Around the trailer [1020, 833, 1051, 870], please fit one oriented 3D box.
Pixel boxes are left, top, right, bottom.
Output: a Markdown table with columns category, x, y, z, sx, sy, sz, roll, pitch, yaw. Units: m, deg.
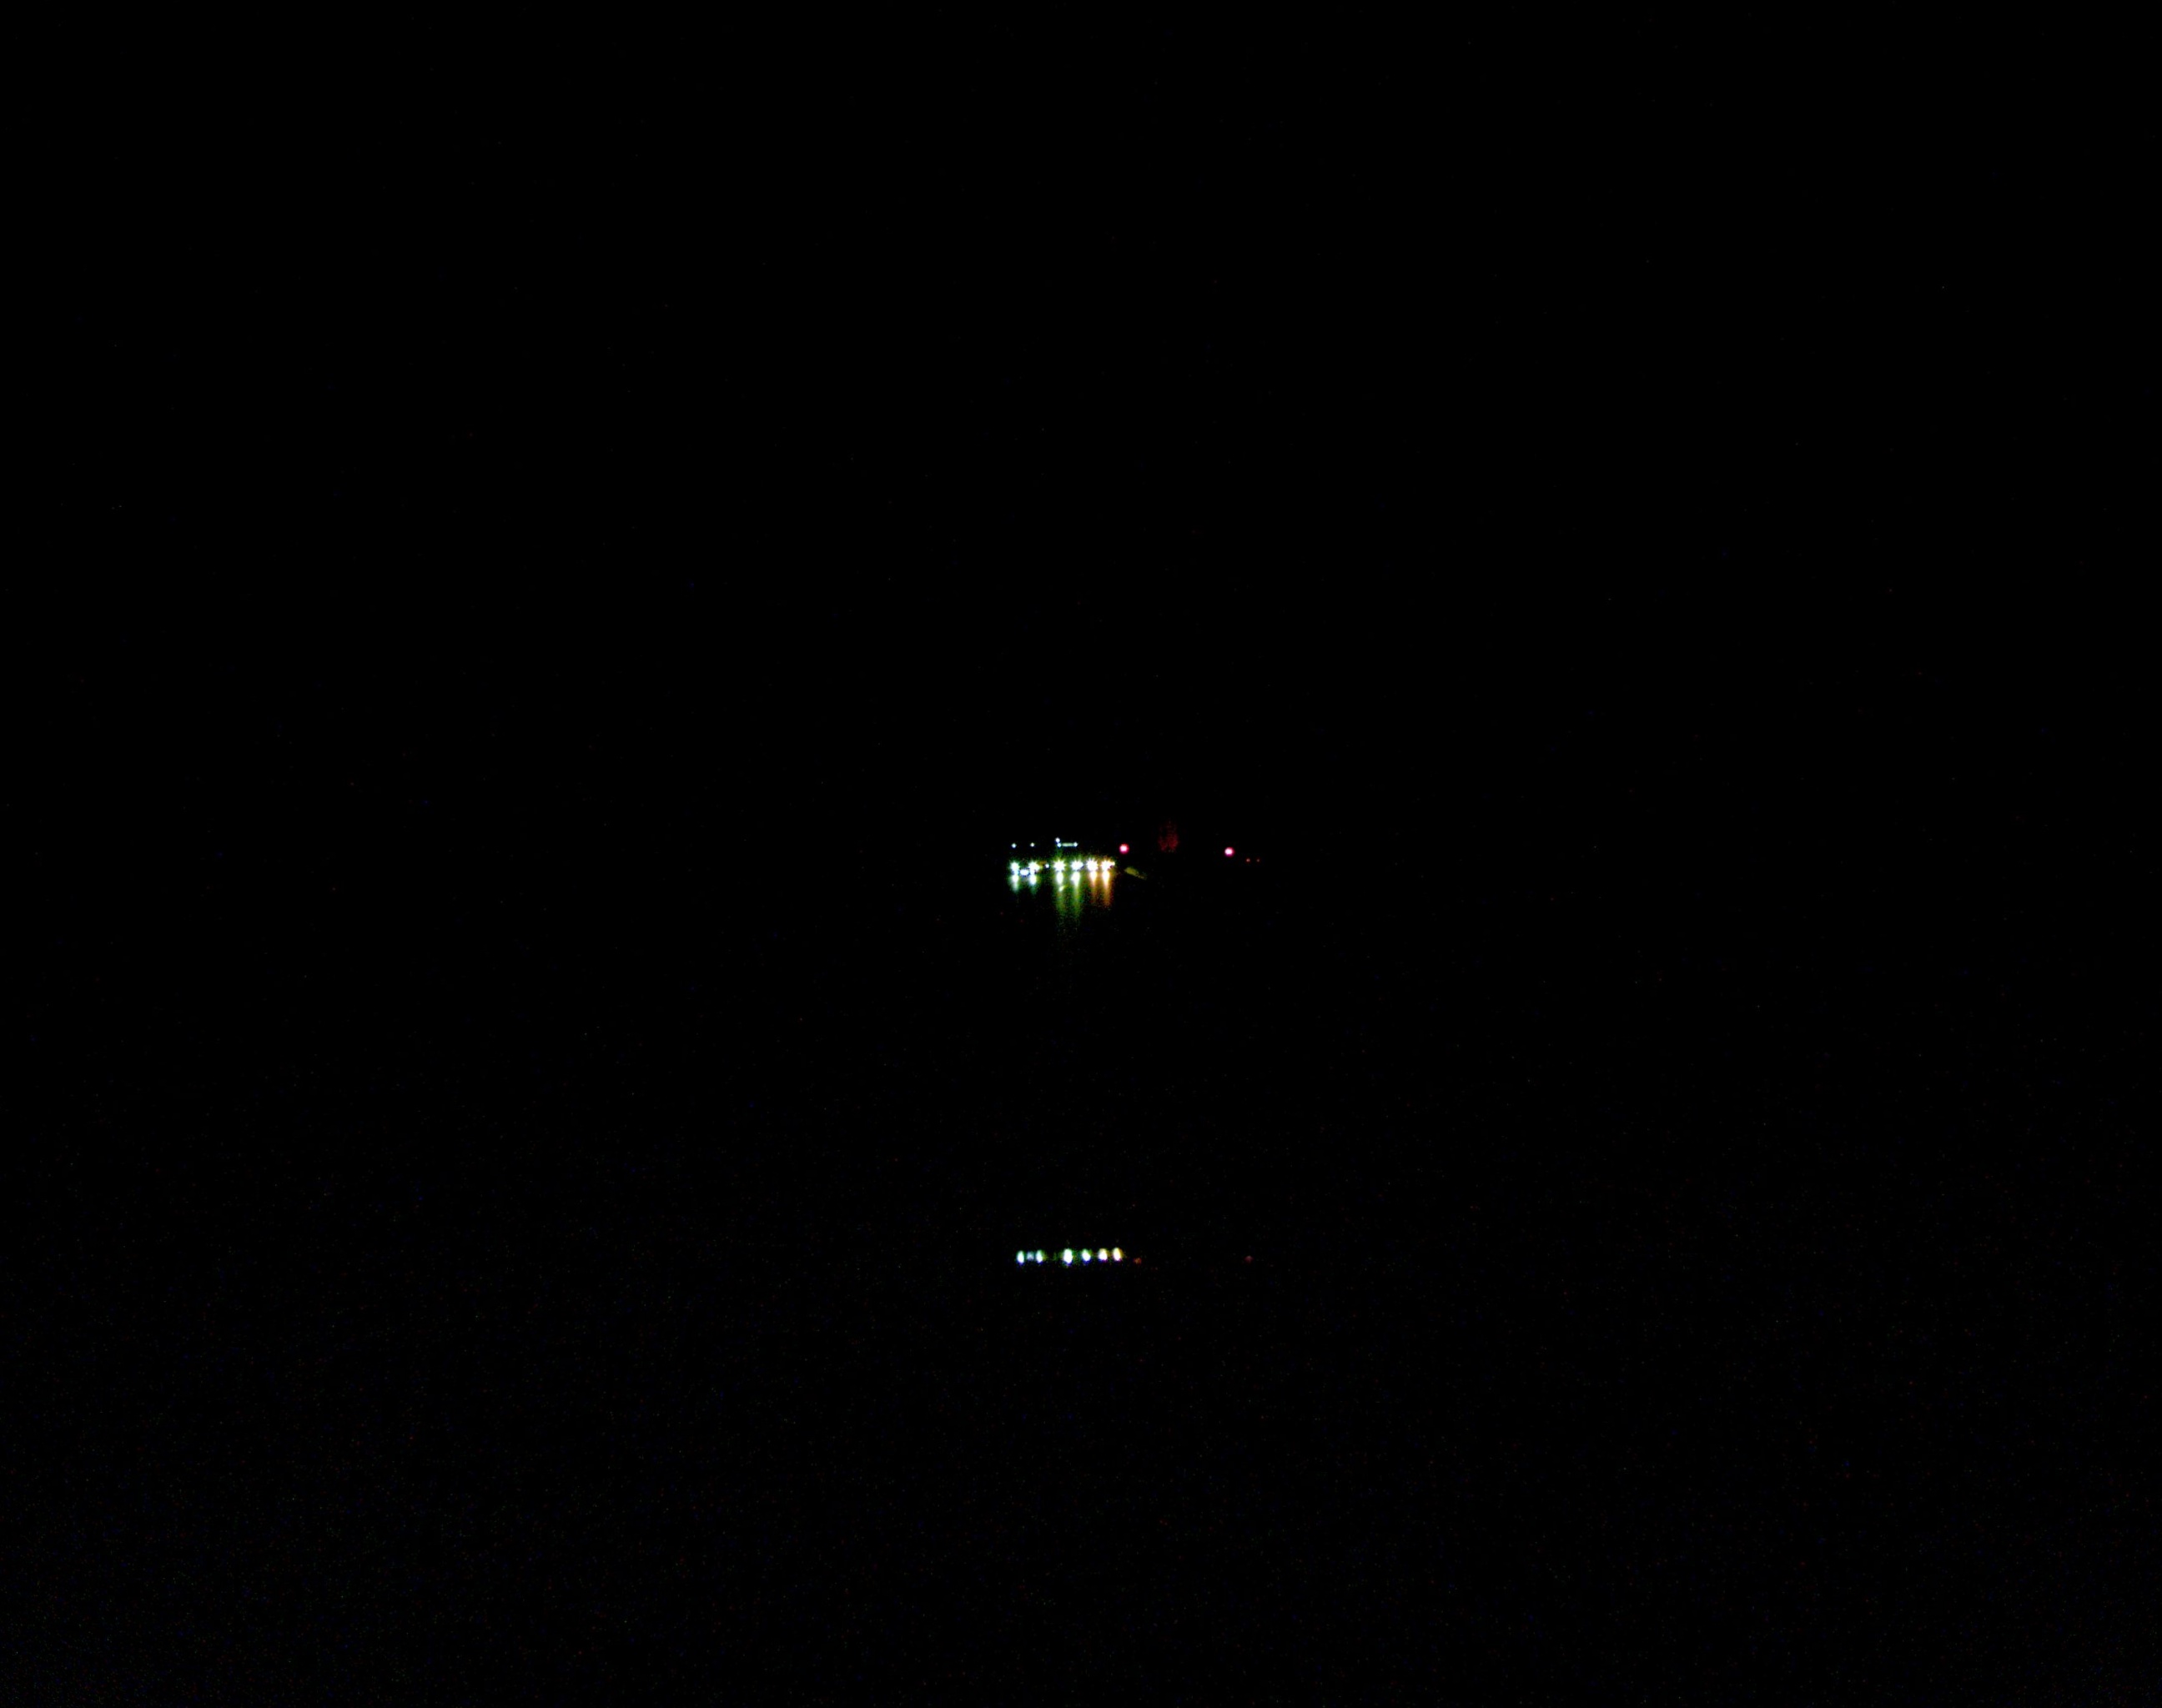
| category | x | y | z | sx | sy | sz | roll | pitch | yaw |
| --- | --- | --- | --- | --- | --- | --- | --- | --- | --- |
| trailer | -5.364 | -0.277 | 91.529 | 2.597 | 4.048 | 10.010 | -2 | 0 | 2 |

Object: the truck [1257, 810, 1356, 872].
| category | x | y | z | sx | sy | sz | roll | pitch | yaw |
| --- | --- | --- | --- | --- | --- | --- | --- | --- | --- |
| truck | 17.306 | -0.822 | 60.223 | 3.121 | 4.178 | 16.981 | 1 | 0 | 1 |

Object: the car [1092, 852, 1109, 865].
| category | x | y | z | sx | sy | sz | roll | pitch | yaw |
| --- | --- | --- | --- | --- | --- | --- | --- | --- | --- |
| car | 2.260 | 0.512 | 87.143 | 1.825 | 1.457 | 4.248 | -2 | 0 | 3 |

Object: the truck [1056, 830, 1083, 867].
| category | x | y | z | sx | sy | sz | roll | pitch | yaw |
| --- | --- | --- | --- | --- | --- | --- | --- | --- | --- |
| truck | -1.318 | -0.602 | 91.746 | 2.668 | 4.181 | 6.724 | -2 | 0 | 2 |

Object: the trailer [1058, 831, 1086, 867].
| category | x | y | z | sx | sy | sz | roll | pitch | yaw |
| --- | --- | --- | --- | --- | --- | --- | --- | --- | --- |
| trailer | -1.025 | -0.563 | 98.823 | 2.749 | 4.181 | 13.513 | -2 | 0 | 2 |

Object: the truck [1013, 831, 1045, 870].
| category | x | y | z | sx | sy | sz | roll | pitch | yaw |
| --- | --- | --- | --- | --- | --- | --- | --- | --- | --- |
| truck | -5.661 | -0.323 | 84.029 | 2.597 | 4.048 | 7.675 | -2 | 0 | 2 |
